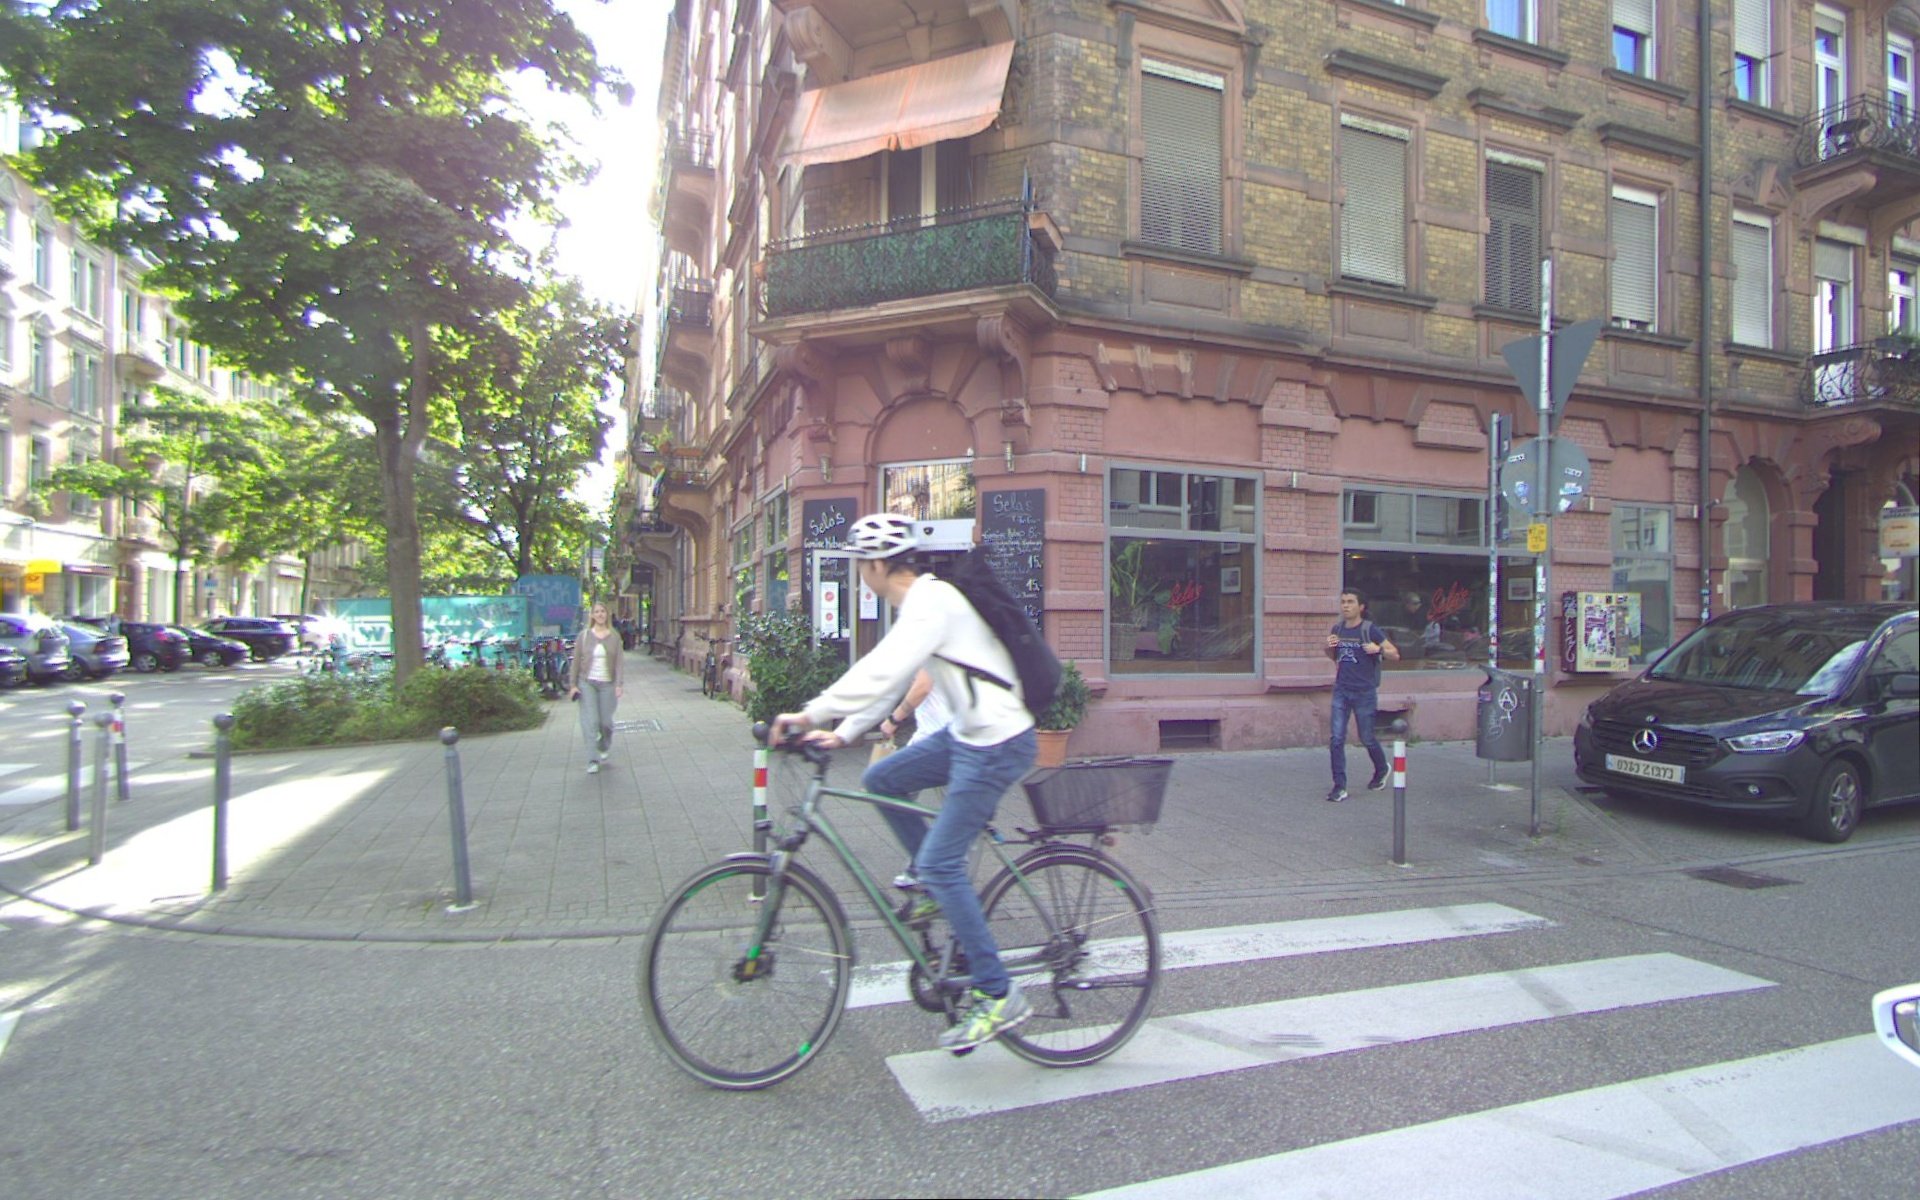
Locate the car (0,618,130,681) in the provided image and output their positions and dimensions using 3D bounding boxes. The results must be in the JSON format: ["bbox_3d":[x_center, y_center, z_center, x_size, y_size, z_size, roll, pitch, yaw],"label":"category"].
[{"bbox_3d":[-22.502,1.182,24.417,3.288,1.462,1.370,0,0,-20],"label":"car"}]

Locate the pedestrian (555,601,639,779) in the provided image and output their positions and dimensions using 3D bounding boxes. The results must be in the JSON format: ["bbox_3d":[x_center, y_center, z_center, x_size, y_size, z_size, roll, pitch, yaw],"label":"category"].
[{"bbox_3d":[-3.465,0.827,9.646,0.604,1.599,0.807,-2,1,-14],"label":"pedestrian"}]

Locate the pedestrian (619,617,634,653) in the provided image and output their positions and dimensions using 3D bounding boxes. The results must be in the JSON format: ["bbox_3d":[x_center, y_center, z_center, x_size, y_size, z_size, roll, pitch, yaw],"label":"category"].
[{"bbox_3d":[-15.715,1.640,47.384,0.560,1.705,0.624,0,-1,-10],"label":"pedestrian"}]

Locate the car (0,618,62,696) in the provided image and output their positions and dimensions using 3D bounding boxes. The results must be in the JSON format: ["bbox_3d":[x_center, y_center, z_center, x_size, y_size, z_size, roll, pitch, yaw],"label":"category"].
[{"bbox_3d":[-20.692,1.126,19.903,4.012,1.496,1.570,0,0,-20],"label":"car"}]

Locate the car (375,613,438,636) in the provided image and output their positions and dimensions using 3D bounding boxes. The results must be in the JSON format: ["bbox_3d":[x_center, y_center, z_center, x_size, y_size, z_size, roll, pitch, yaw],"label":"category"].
[{"bbox_3d":[-37.912,1.686,68.894,3.667,1.492,1.793,0,0,-26],"label":"car"}]

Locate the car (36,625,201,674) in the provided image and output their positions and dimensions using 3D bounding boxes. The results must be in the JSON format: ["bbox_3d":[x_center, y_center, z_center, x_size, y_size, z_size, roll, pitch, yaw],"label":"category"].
[{"bbox_3d":[-23.906,1.396,28.664,3.288,1.350,1.371,0,-2,-20],"label":"car"}]

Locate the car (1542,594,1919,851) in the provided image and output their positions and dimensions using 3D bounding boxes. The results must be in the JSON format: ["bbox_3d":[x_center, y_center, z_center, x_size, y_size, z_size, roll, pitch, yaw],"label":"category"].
[{"bbox_3d":[7.426,0.896,8.758,4.341,1.797,1.756,1,1,-22],"label":"car"}]

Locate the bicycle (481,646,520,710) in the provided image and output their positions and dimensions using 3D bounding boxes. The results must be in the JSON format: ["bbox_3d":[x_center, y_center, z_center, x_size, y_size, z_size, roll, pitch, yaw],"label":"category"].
[{"bbox_3d":[-8.311,1.376,18.142,0.583,1.025,2.063,-1,0,-26],"label":"bicycle"}]

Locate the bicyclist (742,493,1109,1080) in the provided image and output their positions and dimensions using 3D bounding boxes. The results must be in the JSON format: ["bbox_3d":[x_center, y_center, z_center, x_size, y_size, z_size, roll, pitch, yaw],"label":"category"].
[{"bbox_3d":[-0.145,0.560,3.423,1.094,1.699,0.700,1,-2,-17],"label":"bicyclist"}]

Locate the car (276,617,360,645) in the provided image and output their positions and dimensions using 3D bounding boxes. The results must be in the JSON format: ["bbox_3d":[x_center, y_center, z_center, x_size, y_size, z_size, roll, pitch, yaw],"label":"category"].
[{"bbox_3d":[-32.169,1.551,50.378,3.288,1.333,1.401,0,-2,-20],"label":"car"}]

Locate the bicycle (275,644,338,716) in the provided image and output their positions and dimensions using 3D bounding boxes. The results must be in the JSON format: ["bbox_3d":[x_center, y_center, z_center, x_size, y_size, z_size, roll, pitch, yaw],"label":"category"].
[{"bbox_3d":[-10.765,1.275,16.590,0.583,1.043,2.128,-1,0,-26],"label":"bicycle"}]

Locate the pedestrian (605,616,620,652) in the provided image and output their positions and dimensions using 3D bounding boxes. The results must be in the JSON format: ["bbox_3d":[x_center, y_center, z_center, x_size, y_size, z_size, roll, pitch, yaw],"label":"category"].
[{"bbox_3d":[-16.335,1.596,47.246,0.532,1.685,0.587,0,-1,-10],"label":"pedestrian"}]

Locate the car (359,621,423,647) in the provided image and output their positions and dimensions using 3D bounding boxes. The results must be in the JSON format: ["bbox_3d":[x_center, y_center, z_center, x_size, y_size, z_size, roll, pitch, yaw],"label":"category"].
[{"bbox_3d":[-36.243,2.170,64.055,3.307,1.614,1.589,0,0,-19],"label":"car"}]

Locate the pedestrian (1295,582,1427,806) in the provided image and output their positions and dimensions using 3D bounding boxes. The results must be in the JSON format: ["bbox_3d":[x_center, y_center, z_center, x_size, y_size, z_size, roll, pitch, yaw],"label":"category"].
[{"bbox_3d":[3.525,0.778,8.849,0.847,1.865,0.673,0,1,-30],"label":"pedestrian"}]

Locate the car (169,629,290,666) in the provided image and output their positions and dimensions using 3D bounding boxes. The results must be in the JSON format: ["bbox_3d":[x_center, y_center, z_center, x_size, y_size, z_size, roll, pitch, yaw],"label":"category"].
[{"bbox_3d":[-26.602,1.726,36.689,3.288,1.270,1.371,0,-2,-20],"label":"car"}]

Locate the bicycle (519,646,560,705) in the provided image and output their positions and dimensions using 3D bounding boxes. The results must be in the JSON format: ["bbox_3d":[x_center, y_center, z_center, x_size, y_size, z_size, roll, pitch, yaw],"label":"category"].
[{"bbox_3d":[-7.887,1.379,18.780,0.583,0.981,2.063,-1,0,-26],"label":"bicycle"}]

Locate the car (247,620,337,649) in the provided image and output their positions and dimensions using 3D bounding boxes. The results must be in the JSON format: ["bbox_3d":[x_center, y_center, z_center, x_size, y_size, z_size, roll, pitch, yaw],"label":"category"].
[{"bbox_3d":[-31.622,1.648,47.642,3.288,1.333,1.401,0,-2,-20],"label":"car"}]

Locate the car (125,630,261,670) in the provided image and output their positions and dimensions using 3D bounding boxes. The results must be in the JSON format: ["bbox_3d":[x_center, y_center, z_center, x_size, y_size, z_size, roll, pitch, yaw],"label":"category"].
[{"bbox_3d":[-25.242,1.633,33.165,3.288,1.270,1.371,0,-2,-20],"label":"car"}]

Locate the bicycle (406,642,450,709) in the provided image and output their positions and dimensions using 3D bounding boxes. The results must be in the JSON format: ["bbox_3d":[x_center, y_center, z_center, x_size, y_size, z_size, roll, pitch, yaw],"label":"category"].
[{"bbox_3d":[-9.279,1.286,17.572,0.583,1.025,2.063,-1,0,-26],"label":"bicycle"}]

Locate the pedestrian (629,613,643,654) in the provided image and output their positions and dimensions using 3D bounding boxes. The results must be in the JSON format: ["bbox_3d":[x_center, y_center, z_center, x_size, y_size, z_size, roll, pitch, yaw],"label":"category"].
[{"bbox_3d":[-16.500,1.709,51.221,0.589,2.040,0.681,0,-1,-12],"label":"pedestrian"}]

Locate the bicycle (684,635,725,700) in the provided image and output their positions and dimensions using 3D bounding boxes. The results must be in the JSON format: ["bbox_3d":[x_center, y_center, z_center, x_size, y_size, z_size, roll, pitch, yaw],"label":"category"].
[{"bbox_3d":[-4.720,1.219,18.493,0.520,1.081,1.775,2,-1,-20],"label":"bicycle"}]

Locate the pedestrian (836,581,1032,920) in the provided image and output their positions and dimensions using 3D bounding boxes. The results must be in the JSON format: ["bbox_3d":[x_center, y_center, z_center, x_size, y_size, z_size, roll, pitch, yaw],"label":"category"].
[{"bbox_3d":[-0.175,0.767,5.643,0.792,1.693,1.017,1,-1,-21],"label":"pedestrian"}]

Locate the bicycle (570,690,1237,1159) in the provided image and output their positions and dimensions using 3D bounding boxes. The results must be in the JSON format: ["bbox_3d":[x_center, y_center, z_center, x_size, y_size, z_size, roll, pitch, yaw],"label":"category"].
[{"bbox_3d":[-0.162,0.944,3.403,2.083,1.236,0.700,1,-2,-17],"label":"bicycle"}]

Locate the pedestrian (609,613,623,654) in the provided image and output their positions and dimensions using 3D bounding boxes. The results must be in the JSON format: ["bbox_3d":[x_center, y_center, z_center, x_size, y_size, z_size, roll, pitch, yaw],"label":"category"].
[{"bbox_3d":[-17.324,1.702,50.626,0.589,2.040,0.681,0,-1,-12],"label":"pedestrian"}]

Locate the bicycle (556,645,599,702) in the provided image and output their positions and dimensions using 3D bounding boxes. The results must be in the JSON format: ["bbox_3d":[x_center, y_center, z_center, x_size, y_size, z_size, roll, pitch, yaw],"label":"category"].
[{"bbox_3d":[-7.369,1.383,19.300,0.583,0.981,2.063,-1,0,-26],"label":"bicycle"}]

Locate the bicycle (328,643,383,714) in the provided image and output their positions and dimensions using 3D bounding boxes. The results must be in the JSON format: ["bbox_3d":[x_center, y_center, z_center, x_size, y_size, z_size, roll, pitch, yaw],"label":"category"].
[{"bbox_3d":[-10.087,1.281,16.816,0.583,1.043,2.063,-1,0,-26],"label":"bicycle"}]

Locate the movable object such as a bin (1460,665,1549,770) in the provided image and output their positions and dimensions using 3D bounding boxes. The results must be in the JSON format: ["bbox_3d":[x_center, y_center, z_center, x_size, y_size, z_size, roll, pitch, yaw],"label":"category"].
[{"bbox_3d":[4.067,0.866,7.508,0.469,0.724,0.382,0,0,-25],"label":"movable object such as a bin"}]

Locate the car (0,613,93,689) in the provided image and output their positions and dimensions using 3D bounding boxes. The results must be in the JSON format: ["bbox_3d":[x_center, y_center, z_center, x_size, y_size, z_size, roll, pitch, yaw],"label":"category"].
[{"bbox_3d":[-21.827,1.117,22.241,3.643,1.618,1.570,0,0,-20],"label":"car"}]

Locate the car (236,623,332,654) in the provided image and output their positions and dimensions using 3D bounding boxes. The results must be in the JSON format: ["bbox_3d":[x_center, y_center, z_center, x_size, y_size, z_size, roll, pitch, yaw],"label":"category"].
[{"bbox_3d":[-30.249,1.737,45.042,3.288,1.333,1.401,0,-2,-20],"label":"car"}]
